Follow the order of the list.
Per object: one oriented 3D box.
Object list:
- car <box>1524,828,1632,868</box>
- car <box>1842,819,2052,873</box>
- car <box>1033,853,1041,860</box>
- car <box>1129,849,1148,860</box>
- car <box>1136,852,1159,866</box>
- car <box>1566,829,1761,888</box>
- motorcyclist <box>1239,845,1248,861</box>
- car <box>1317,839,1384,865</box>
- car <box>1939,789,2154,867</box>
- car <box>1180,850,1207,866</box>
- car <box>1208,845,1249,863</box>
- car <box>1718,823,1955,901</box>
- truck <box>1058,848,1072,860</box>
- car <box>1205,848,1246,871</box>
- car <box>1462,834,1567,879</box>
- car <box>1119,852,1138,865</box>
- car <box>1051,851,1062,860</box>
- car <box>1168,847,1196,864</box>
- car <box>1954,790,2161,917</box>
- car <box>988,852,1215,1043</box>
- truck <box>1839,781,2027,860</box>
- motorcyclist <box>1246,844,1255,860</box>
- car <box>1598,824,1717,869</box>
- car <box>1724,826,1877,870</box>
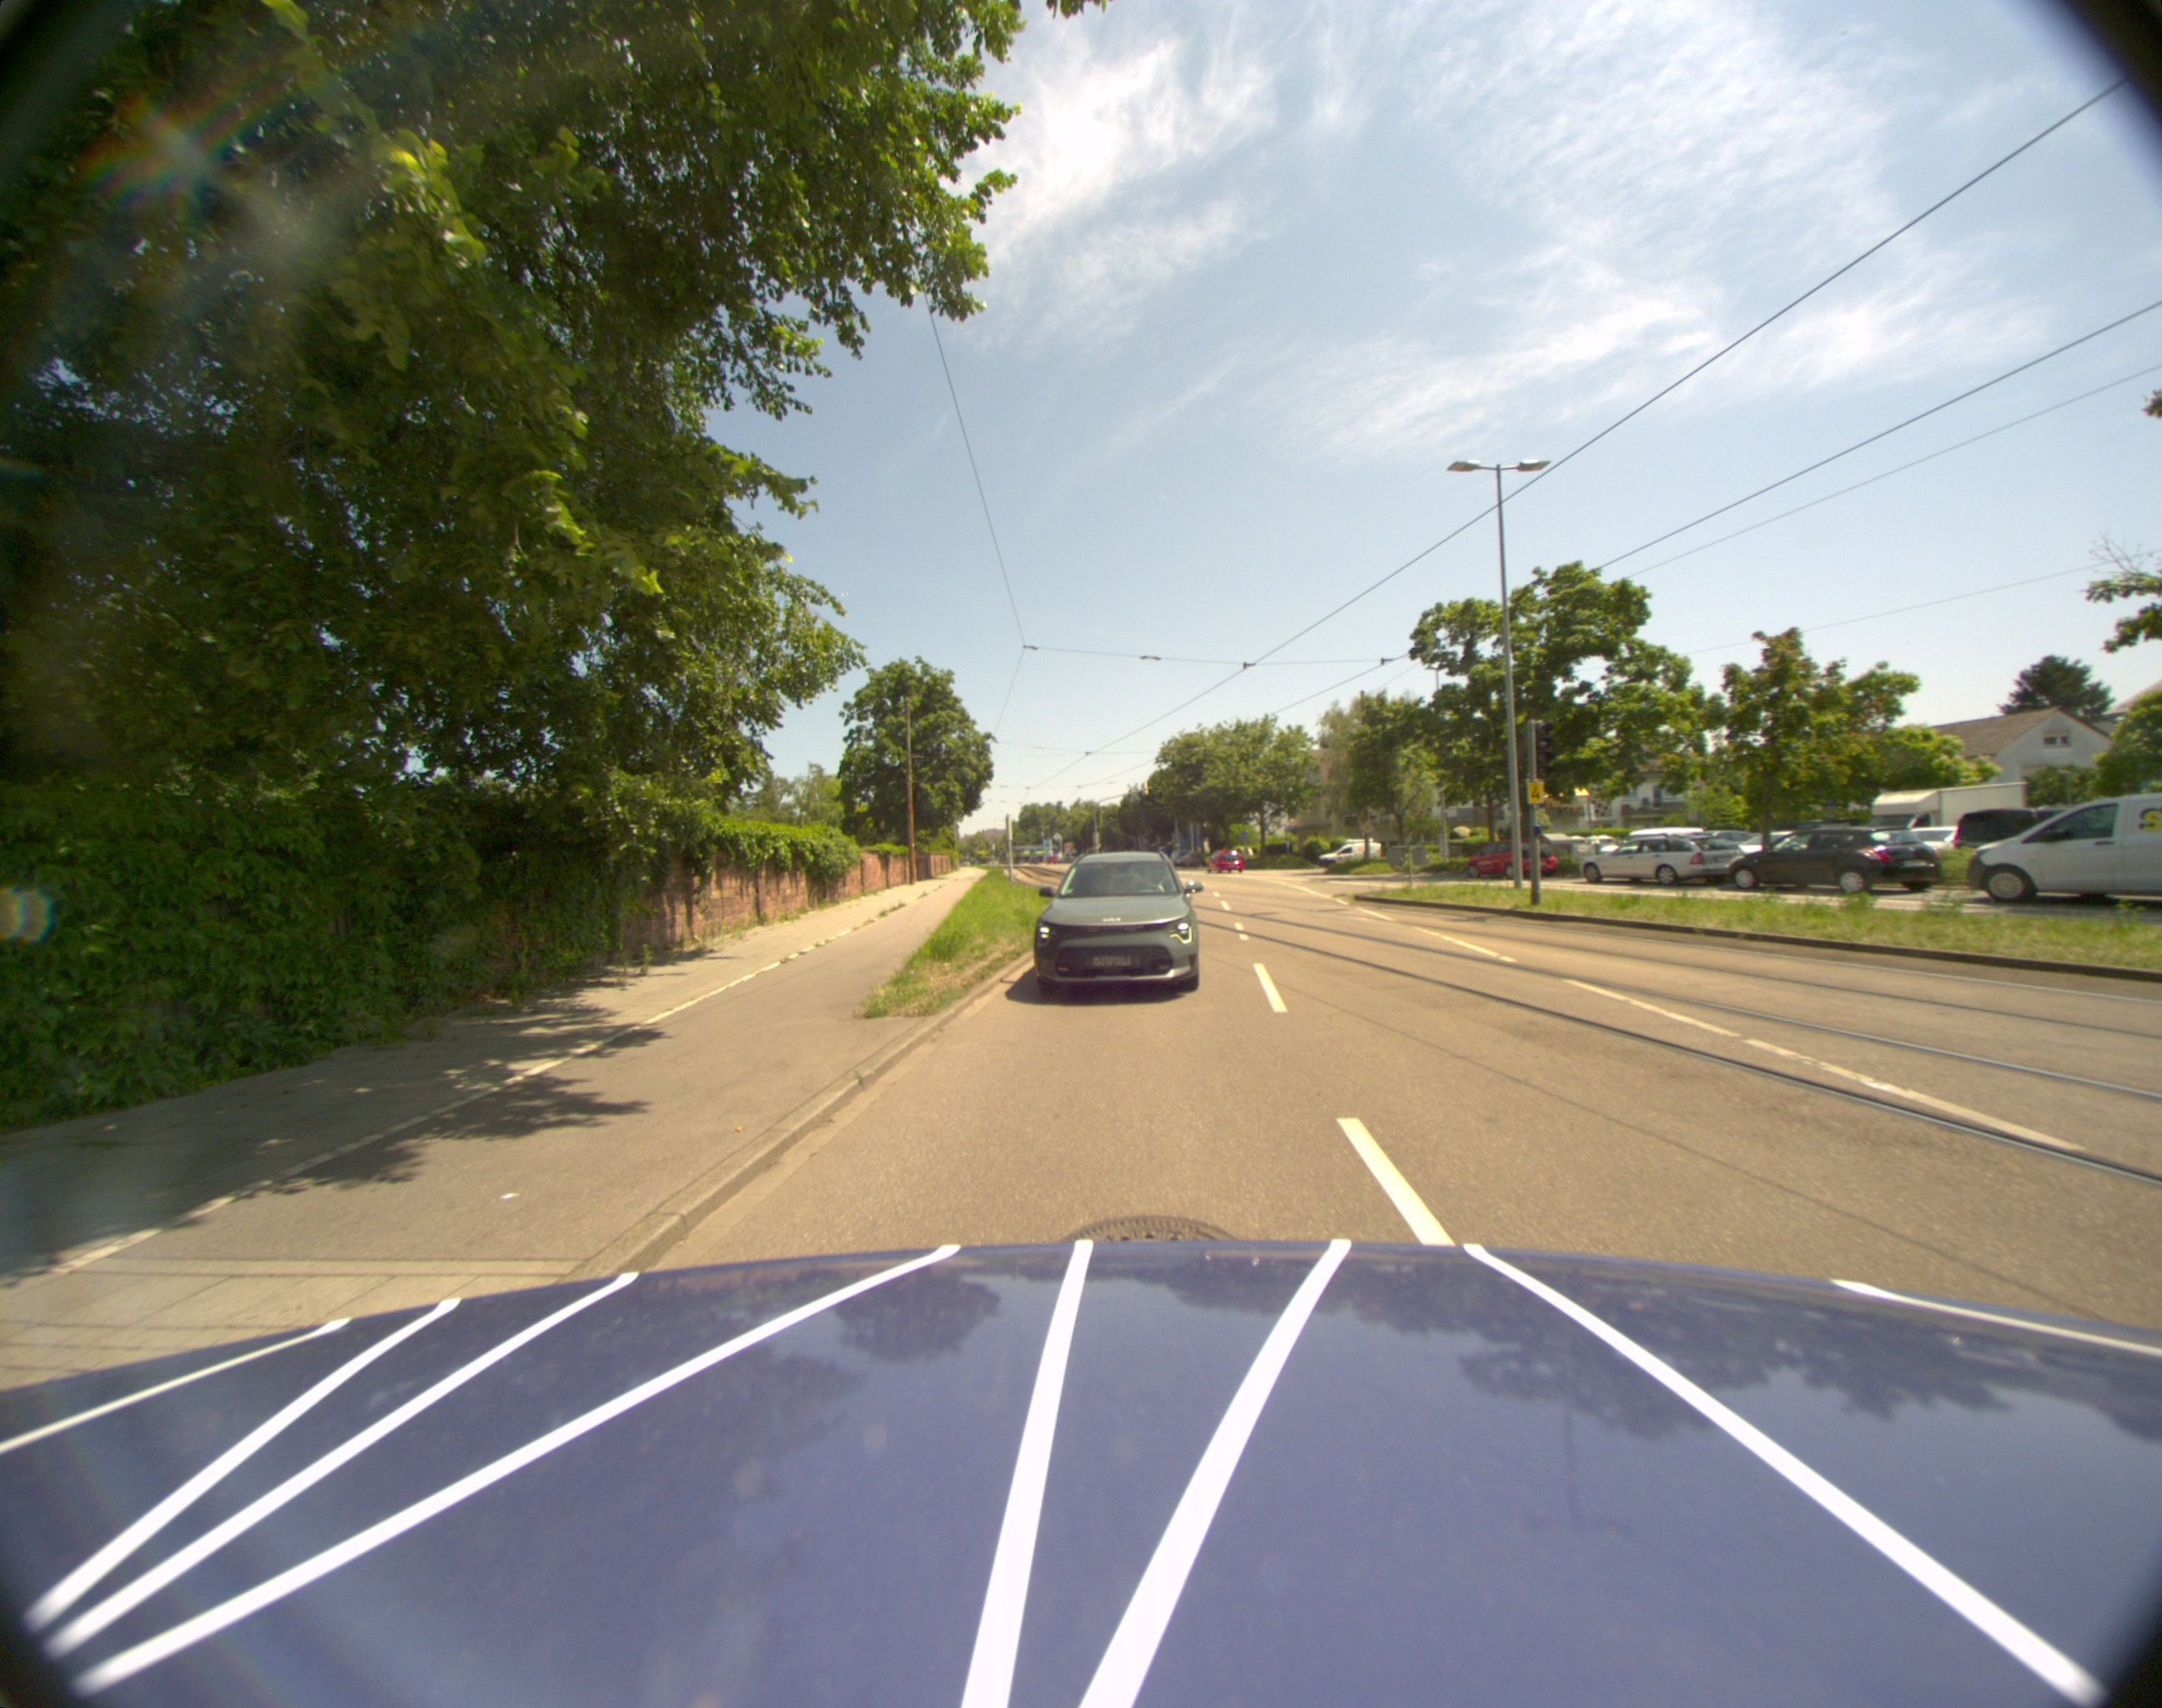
[{"bbox_3d":[26.193,-0.315,40.120,4.462,1.846,2.059,-2,0,-9],"label":"car"},{"bbox_3d":[27.380,-0.251,24.113,4.776,1.480,2.057,-2,0,-7],"label":"car"},{"bbox_3d":[-11.284,0.656,194.262,1.924,1.899,4.568,-1,0,-6],"label":"car"},{"bbox_3d":[8.321,0.060,110.278,1.681,1.487,4.635,-6,1,-7],"label":"car"},{"bbox_3d":[6.768,0.494,77.835,1.653,1.368,3.809,0,1,-6],"label":"car"},{"bbox_3d":[17.232,0.136,22.852,1.724,1.419,4.767,-6,1,-7],"label":"car"},{"bbox_3d":[16.474,-0.090,77.033,0.588,1.494,0.725,-5,1,-5],"label":"motorcyclist"},{"bbox_3d":[19.066,-0.138,53.918,4.229,1.697,1.742,-2,0,10],"label":"car"},{"bbox_3d":[27.400,-0.711,21.623,4.223,1.983,1.855,-2,0,-7],"label":"car"},{"bbox_3d":[11.553,0.395,77.999,1.681,1.478,4.125,-4,0,-6],"label":"car"},{"bbox_3d":[12.788,0.011,66.257,1.900,1.448,4.806,-4,0,-8],"label":"car"},{"bbox_3d":[17.561,0.158,17.943,1.618,1.476,3.783,-6,1,-4],"label":"car"},{"bbox_3d":[-3.936,-0.072,184.403,2.136,2.565,4.858,-6,1,-15],"label":"truck"},{"bbox_3d":[9.546,0.360,50.459,1.662,1.402,3.604,-1,0,-6],"label":"car"},{"bbox_3d":[16.538,0.069,29.218,1.676,1.537,3.725,-4,1,-3],"label":"car"},{"bbox_3d":[5.869,0.541,95.091,1.742,1.566,3.711,-2,0,-6],"label":"car"},{"bbox_3d":[-5.376,0.364,167.998,1.905,1.915,4.816,0,0,-7],"label":"car"},{"bbox_3d":[11.090,0.203,83.575,1.976,1.679,4.685,-4,0,-4],"label":"car"},{"bbox_3d":[17.993,-0.053,12.322,1.868,1.926,4.803,-6,1,-4],"label":"car"},{"bbox_3d":[0.540,0.856,8.958,1.757,1.574,4.430,-4,0,13],"label":"car"},{"bbox_3d":[39.247,-1.513,35.074,6.999,3.209,2.149,-3,1,-7],"label":"truck"},{"bbox_3d":[16.677,-0.192,74.718,0.588,1.494,0.662,-5,1,-5],"label":"motorcyclist"},{"bbox_3d":[26.473,-0.344,34.951,4.279,1.825,1.672,-2,0,-5],"label":"car"},{"bbox_3d":[27.462,-0.223,29.095,4.134,1.499,1.931,-2,0,-4],"label":"car"}]
